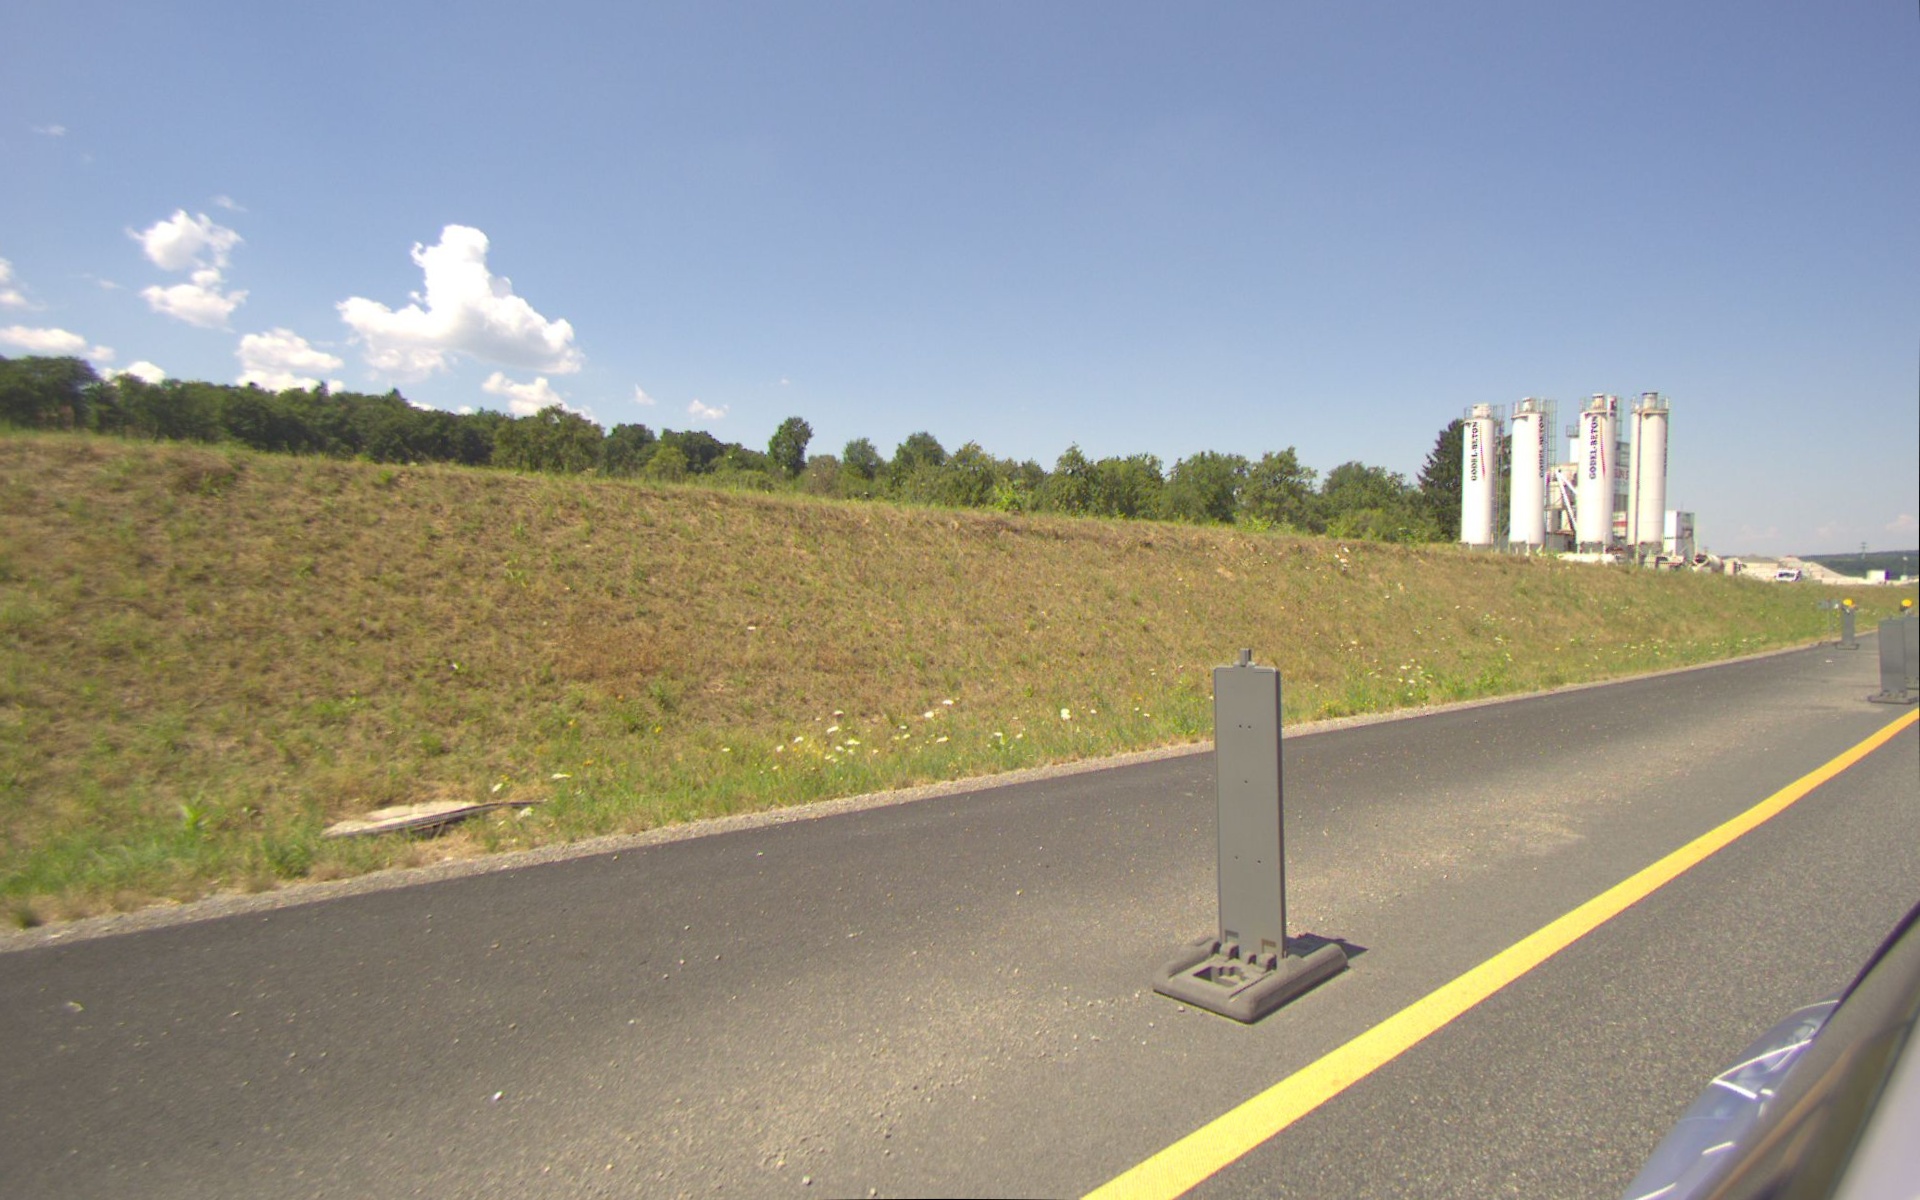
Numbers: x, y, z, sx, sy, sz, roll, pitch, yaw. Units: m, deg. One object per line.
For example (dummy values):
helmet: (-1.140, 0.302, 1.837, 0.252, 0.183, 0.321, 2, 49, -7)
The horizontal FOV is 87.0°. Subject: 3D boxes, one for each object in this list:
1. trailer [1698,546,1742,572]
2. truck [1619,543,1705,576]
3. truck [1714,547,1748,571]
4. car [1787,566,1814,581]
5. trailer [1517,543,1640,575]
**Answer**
trailer: (81.826, -4.337, 108.951, 6.809, 2.677, 1.999, -1, 0, -38)
truck: (59.151, -3.402, 85.427, 5.228, 2.576, 2.894, -1, 0, 13)
truck: (84.545, -4.440, 111.004, 3.967, 2.577, 2.022, -1, 0, -38)
car: (101.906, -3.202, 122.649, 3.539, 1.784, 1.989, -1, 1, -41)
trailer: (54.106, -3.516, 88.768, 2.423, 2.639, 8.903, -1, 2, -43)
